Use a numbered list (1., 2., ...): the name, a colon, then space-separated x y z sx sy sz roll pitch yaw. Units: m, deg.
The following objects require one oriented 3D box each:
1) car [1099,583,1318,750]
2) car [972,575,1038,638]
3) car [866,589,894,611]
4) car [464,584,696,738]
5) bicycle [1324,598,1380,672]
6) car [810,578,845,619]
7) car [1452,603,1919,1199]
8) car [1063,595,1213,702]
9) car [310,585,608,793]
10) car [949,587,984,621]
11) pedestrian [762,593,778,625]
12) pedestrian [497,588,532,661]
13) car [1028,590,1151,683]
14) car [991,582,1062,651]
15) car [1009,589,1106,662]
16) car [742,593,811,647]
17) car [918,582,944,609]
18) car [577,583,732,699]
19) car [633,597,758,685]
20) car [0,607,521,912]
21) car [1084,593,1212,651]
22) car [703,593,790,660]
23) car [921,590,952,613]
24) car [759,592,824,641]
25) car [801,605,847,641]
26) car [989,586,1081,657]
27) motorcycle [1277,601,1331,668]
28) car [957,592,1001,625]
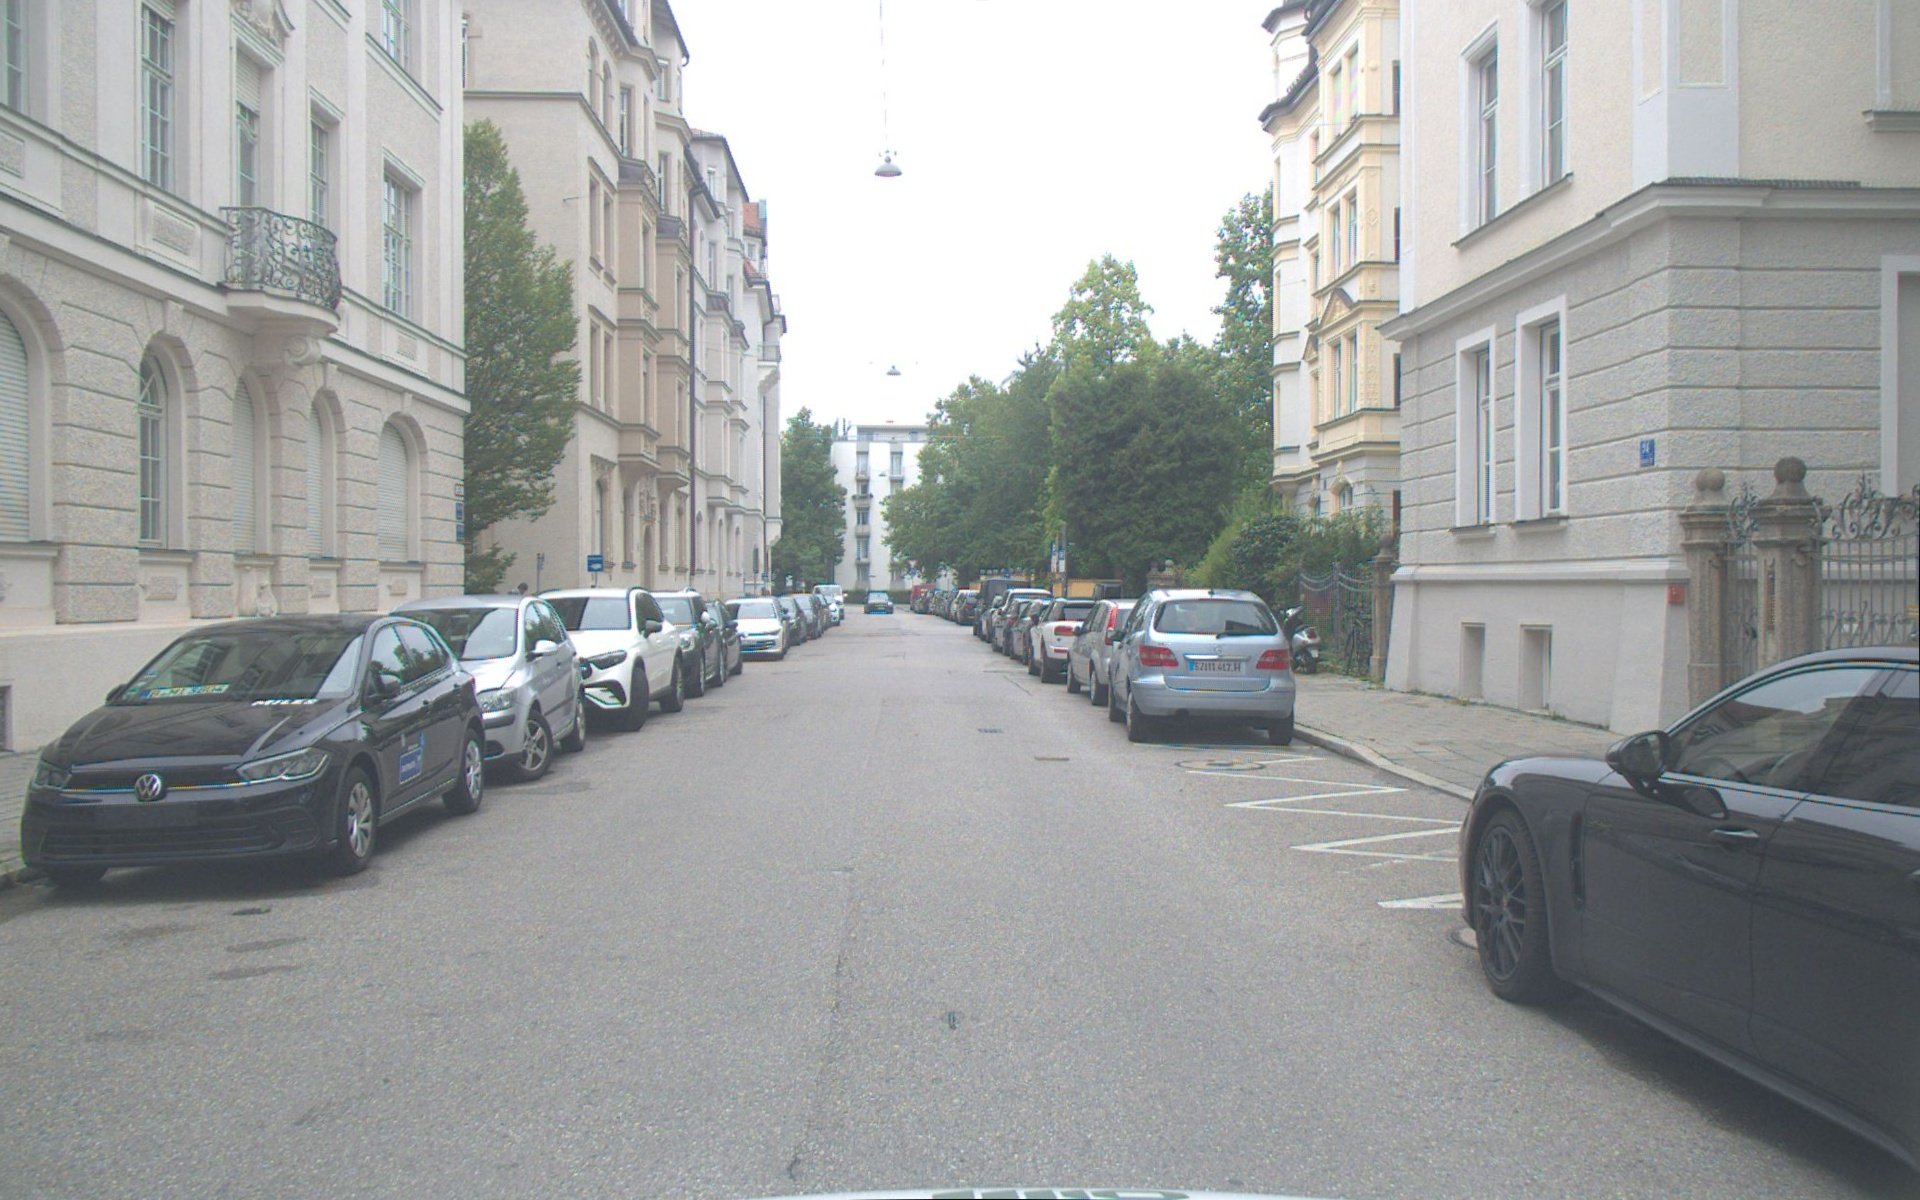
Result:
1. car: 2.691 0.643 18.852 1.785 1.596 4.400 2 1 0
2. car: 1.507 0.190 56.644 1.911 1.988 4.664 1 1 -2
3. car: -5.623 -0.003 115.500 1.837 1.453 4.405 0 0 -4
4. car: -4.491 0.638 20.259 1.876 1.647 4.570 0 1 -1
5. bicycle: 6.442 0.556 27.240 0.425 1.145 1.881 0 0 -1
6. car: -7.596 -0.110 95.253 1.849 2.164 4.703 -3 1 -4
7. car: 3.183 0.782 4.608 1.954 1.483 4.709 -1 0 -4
8. car: 2.532 0.655 24.252 1.719 1.431 3.450 1 0 -2
9. car: -4.437 0.698 15.301 1.748 1.568 4.253 -2 0 -5
10. car: 0.295 0.201 84.624 1.484 1.690 3.671 1 0 -4
11. pedestrian: -10.337 0.491 89.967 0.778 1.708 0.698 0 0 -11
12. pedestrian: -10.238 0.548 38.032 0.660 1.654 0.630 0 0 -5
13. car: 2.245 0.594 29.663 1.748 1.530 4.063 1 0 -2
14. car: 1.837 0.446 46.975 1.688 1.800 4.412 2 0 -1
15. car: 2.144 0.528 37.284 1.651 1.530 4.014 1 0 -4
16. car: -5.564 0.583 50.577 1.797 1.459 4.551 -2 1 -3
17. car: -2.159 -0.363 125.154 1.799 1.960 4.005 2 1 0
18. car: -4.680 0.569 25.884 1.799 1.647 4.243 0 1 -2
19. car: -4.750 0.692 30.250 1.751 1.437 4.365 0 1 -2
20. car: -4.227 0.828 10.613 1.756 1.440 4.277 -3 0 -2
21. car: 7.008 0.807 61.905 4.445 1.984 1.900 -1 2 -9
22. car: -5.237 0.614 41.045 1.800 1.459 4.242 -2 1 -3
23. car: -1.609 0.122 113.265 1.803 1.545 3.943 1 0 -6
24. car: -5.683 0.543 56.194 1.799 1.460 4.243 -3 1 -1
25. car: -6.286 1.038 76.799 1.799 1.463 4.273 -3 1 -1
26. car: 1.836 0.498 41.977 1.716 1.639 4.419 1 1 -5
27. motorcycle: 6.106 0.593 29.419 0.594 1.132 1.965 0 0 1
28. car: 0.834 0.385 74.612 1.801 1.438 4.340 1 0 -2
